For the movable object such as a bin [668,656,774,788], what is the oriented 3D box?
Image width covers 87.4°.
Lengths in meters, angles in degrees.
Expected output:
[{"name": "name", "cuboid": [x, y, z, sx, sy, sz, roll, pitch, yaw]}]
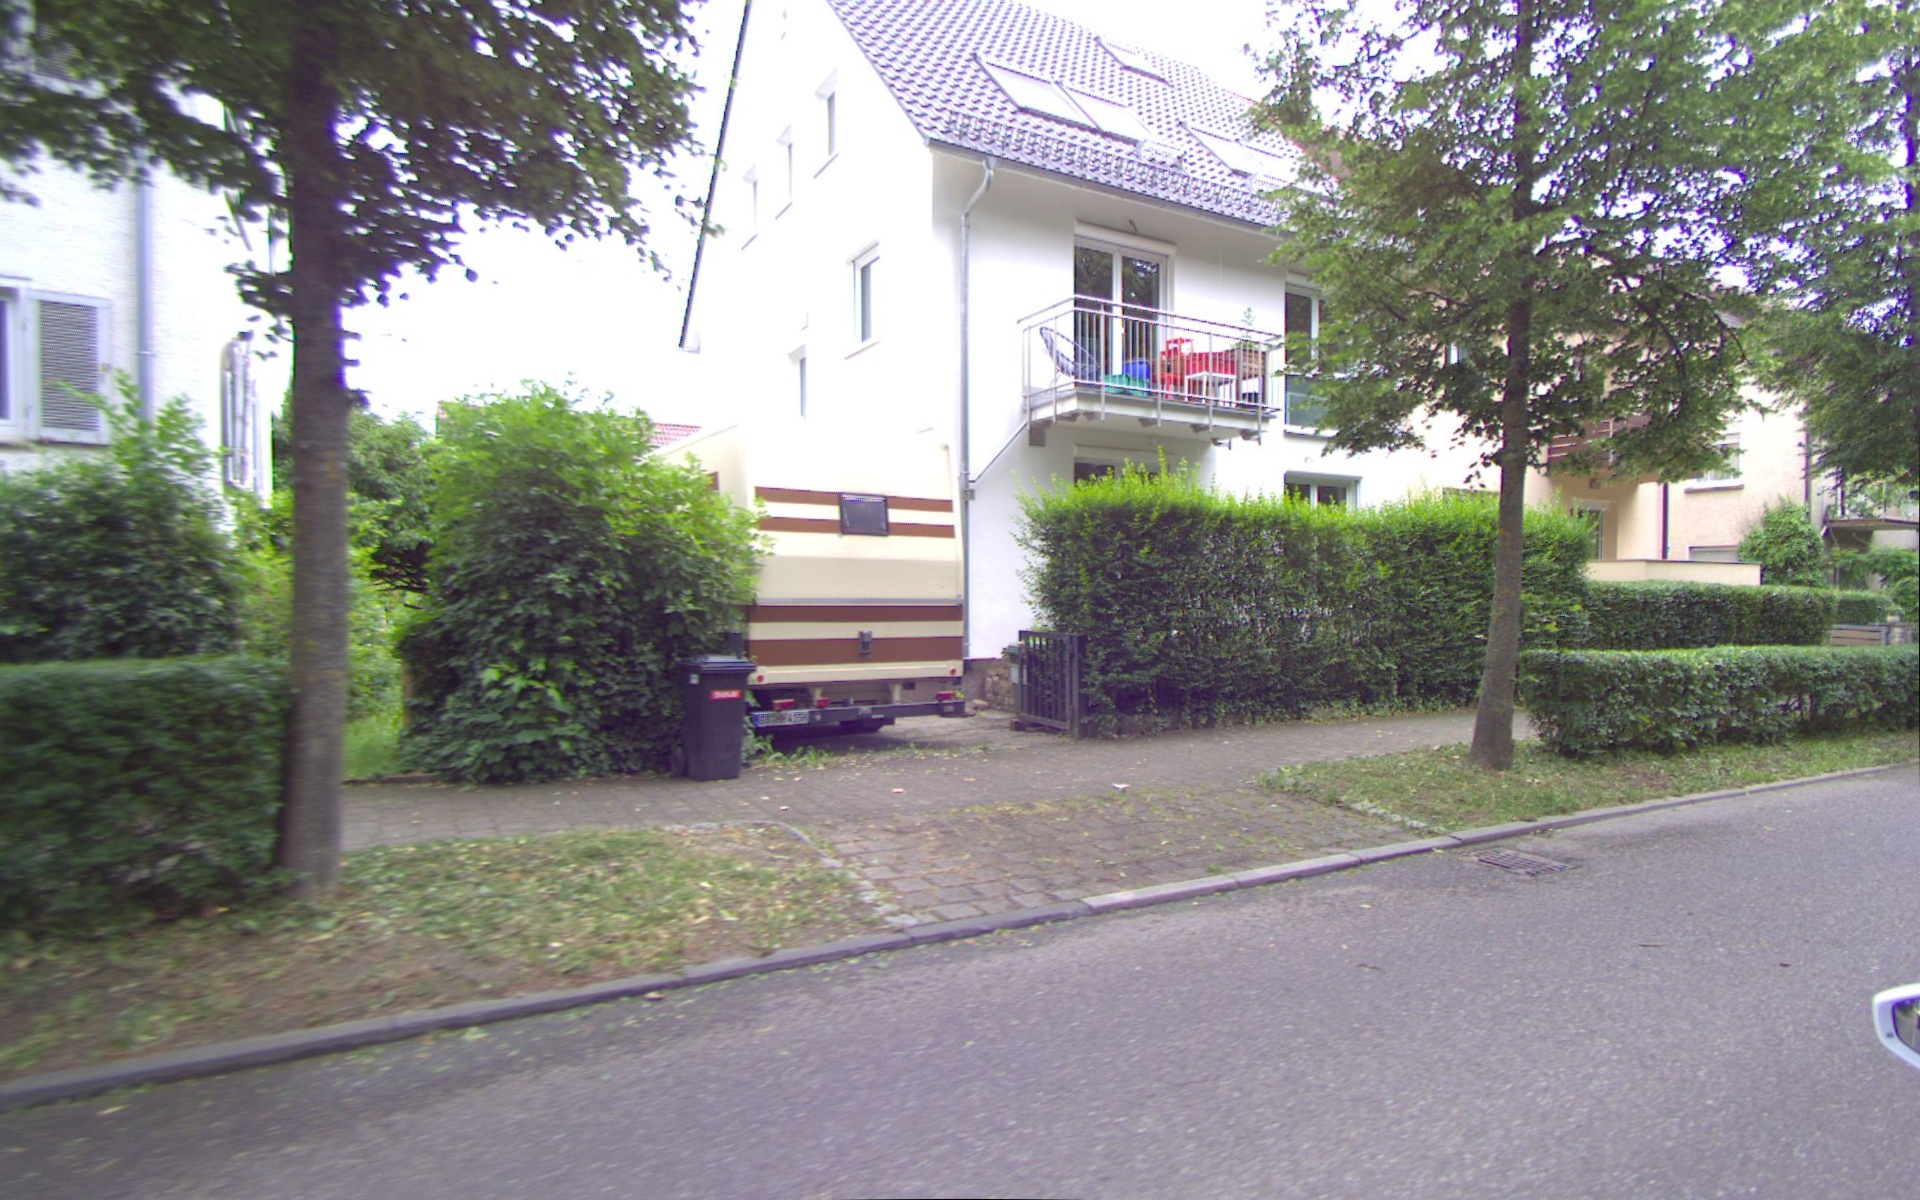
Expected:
[{"name": "movable object such as a bin", "cuboid": [-1.859, 0.921, 7.794, 0.684, 0.938, 0.578, 1, -1, -28]}]

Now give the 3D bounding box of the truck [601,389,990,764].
[{"name": "truck", "cuboid": [-2.258, -0.216, 11.626, 2.489, 3.173, 5.766, 1, 0, -31]}]
